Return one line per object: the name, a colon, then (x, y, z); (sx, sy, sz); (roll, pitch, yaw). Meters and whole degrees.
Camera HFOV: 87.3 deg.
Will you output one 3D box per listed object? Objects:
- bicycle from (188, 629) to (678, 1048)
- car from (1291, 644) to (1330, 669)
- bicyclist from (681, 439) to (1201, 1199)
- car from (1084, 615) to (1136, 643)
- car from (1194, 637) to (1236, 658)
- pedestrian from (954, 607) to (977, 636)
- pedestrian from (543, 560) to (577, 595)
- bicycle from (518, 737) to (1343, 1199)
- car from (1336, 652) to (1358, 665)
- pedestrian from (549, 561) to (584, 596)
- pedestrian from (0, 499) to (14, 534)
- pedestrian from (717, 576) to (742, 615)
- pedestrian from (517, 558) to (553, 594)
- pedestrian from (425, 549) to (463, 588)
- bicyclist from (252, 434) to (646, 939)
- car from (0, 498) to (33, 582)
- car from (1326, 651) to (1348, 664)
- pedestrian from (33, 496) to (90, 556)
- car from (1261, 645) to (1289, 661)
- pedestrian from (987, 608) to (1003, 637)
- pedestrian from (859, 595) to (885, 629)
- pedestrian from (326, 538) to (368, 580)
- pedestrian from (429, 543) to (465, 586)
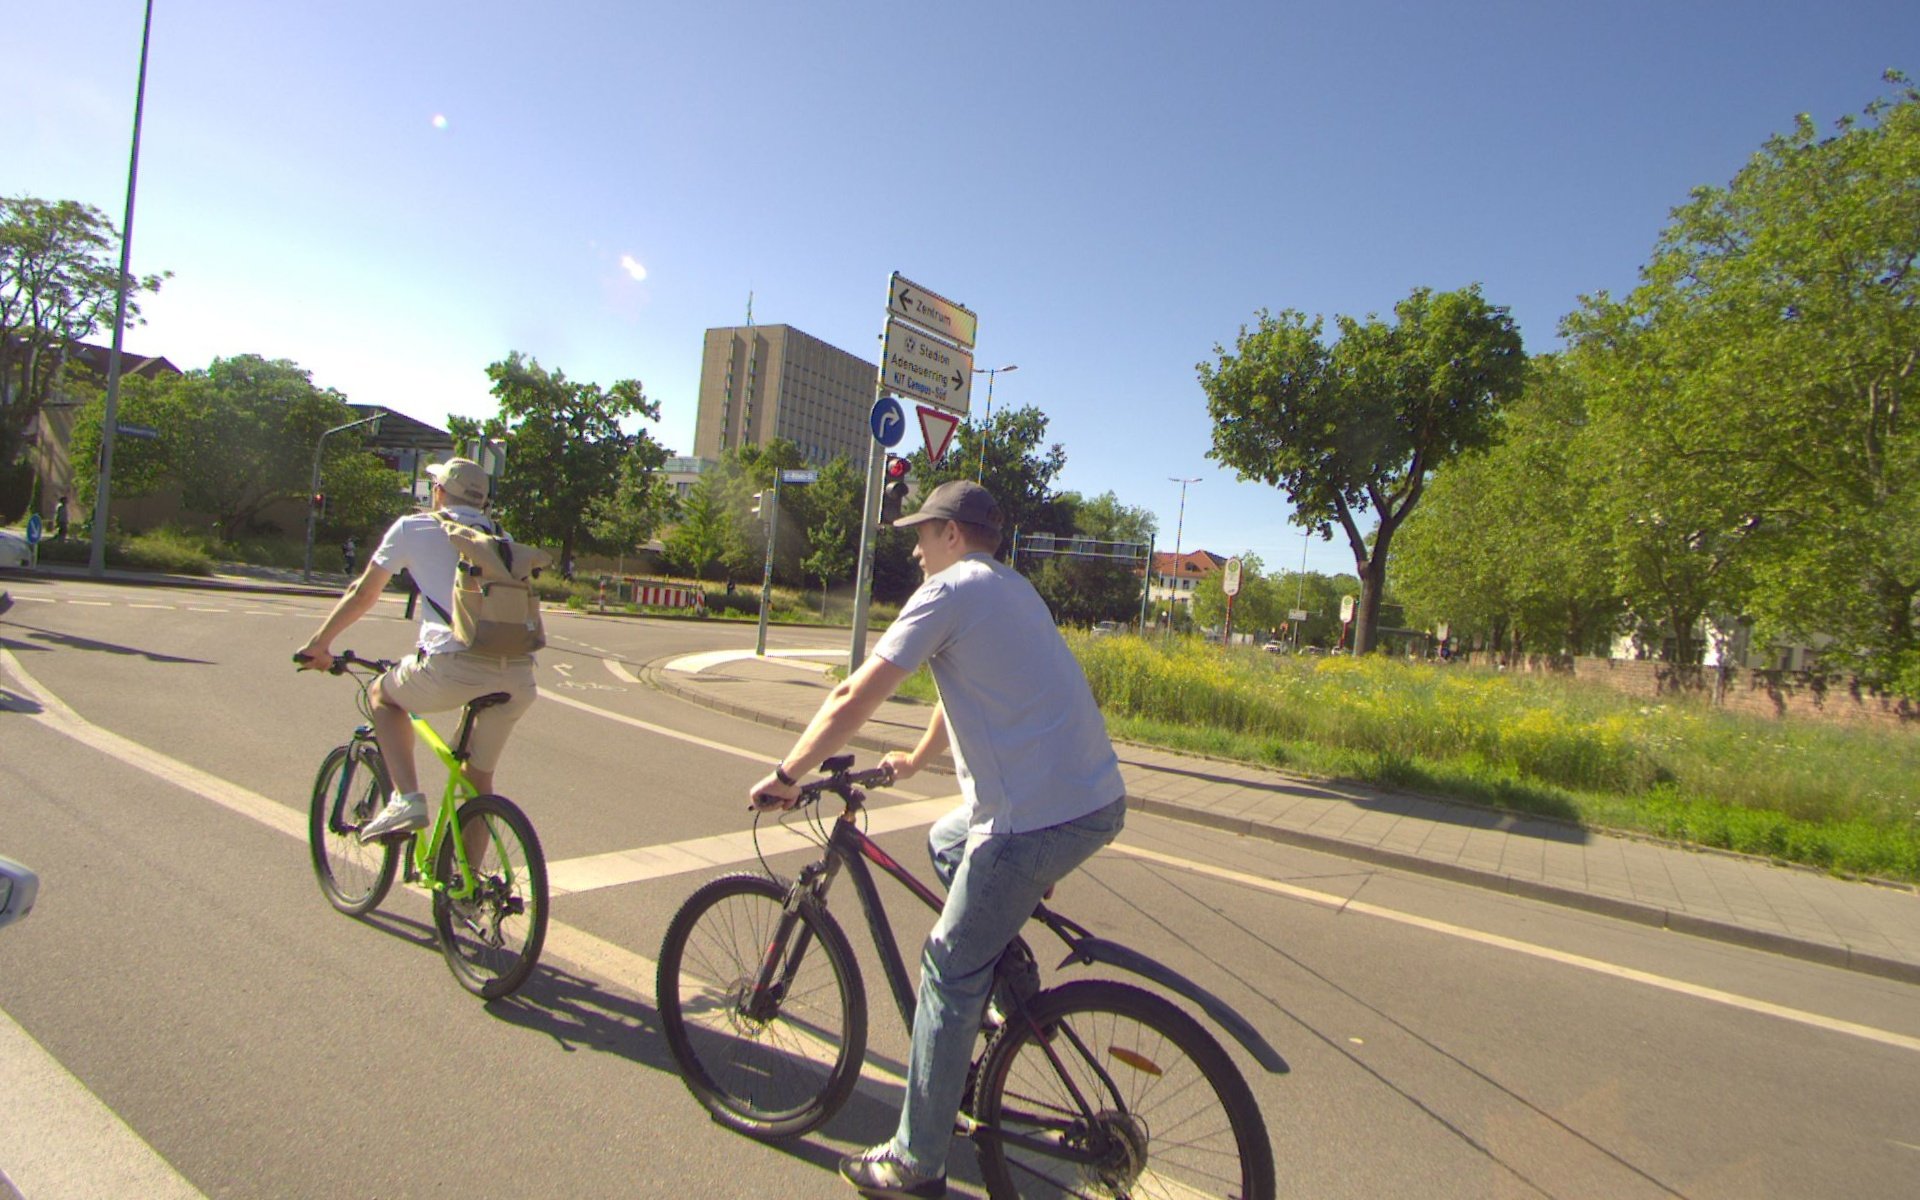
bicycle: (-2.017, 0.761, 3.773); (1.813, 1.063, 0.672); (6, -1, 31)
car: (26.141, 4.242, 74.960); (1.714, 1.535, 3.989); (7, 0, 33)
bicyclist: (-0.023, 0.529, 2.479); (0.851, 1.695, 0.741); (7, 1, 30)
car: (10.967, 2.105, 73.228); (1.882, 1.625, 4.124); (7, 0, 37)
car: (24.101, 4.497, 94.909); (1.909, 1.613, 4.860); (7, 0, 38)
pedestrian: (0.454, 1.653, 77.971); (1.065, 2.106, 1.231); (7, 1, 35)
pedestrian: (-19.567, -1.089, 49.261); (0.865, 1.540, 1.144); (7, 1, 35)
bicycle: (-0.140, 1.050, 2.528); (1.871, 1.064, 0.748); (6, 1, 30)
car: (52.708, 7.947, 137.018); (1.968, 1.378, 3.998); (7, 0, 33)
pedestrian: (-19.075, -1.041, 48.775); (0.975, 1.540, 1.129); (7, 1, 35)
pedestrian: (-46.511, -4.082, 48.537); (1.156, 1.633, 0.936); (7, 1, 32)
pedestrian: (-13.219, -0.244, 57.706); (0.800, 2.106, 0.896); (7, 1, 35)
pedestrian: (-19.817, -1.109, 46.902); (0.927, 1.540, 1.145); (7, 1, 38)
pedestrian: (-21.972, -1.340, 42.847); (0.865, 1.540, 1.074); (7, 1, 36)
bicyclist: (-1.902, 0.260, 3.752); (1.063, 1.601, 0.675); (7, -1, 31)
car: (-18.484, -1.251, 17.113); (1.869, 1.419, 3.835); (3, -4, 45)
car: (54.105, 8.287, 144.417); (1.893, 1.625, 4.071); (7, 0, 36)
pedestrian: (-31.152, -2.560, 34.873); (0.953, 1.879, 1.294); (7, 1, 43)
car: (37.532, 6.301, 119.773); (1.968, 1.625, 4.506); (7, 0, 34)
pedestrian: (2.744, 1.780, 78.940); (0.633, 2.194, 0.912); (7, 1, 35)
pedestrian: (-5.800, 0.814, 66.317); (0.966, 2.106, 1.186); (7, 1, 35)
pedestrian: (-24.743, -1.662, 40.609); (0.917, 1.540, 1.083); (7, 1, 41)
pedestrian: (-22.512, -1.548, 44.176); (0.911, 1.754, 0.963); (7, 1, 35)
